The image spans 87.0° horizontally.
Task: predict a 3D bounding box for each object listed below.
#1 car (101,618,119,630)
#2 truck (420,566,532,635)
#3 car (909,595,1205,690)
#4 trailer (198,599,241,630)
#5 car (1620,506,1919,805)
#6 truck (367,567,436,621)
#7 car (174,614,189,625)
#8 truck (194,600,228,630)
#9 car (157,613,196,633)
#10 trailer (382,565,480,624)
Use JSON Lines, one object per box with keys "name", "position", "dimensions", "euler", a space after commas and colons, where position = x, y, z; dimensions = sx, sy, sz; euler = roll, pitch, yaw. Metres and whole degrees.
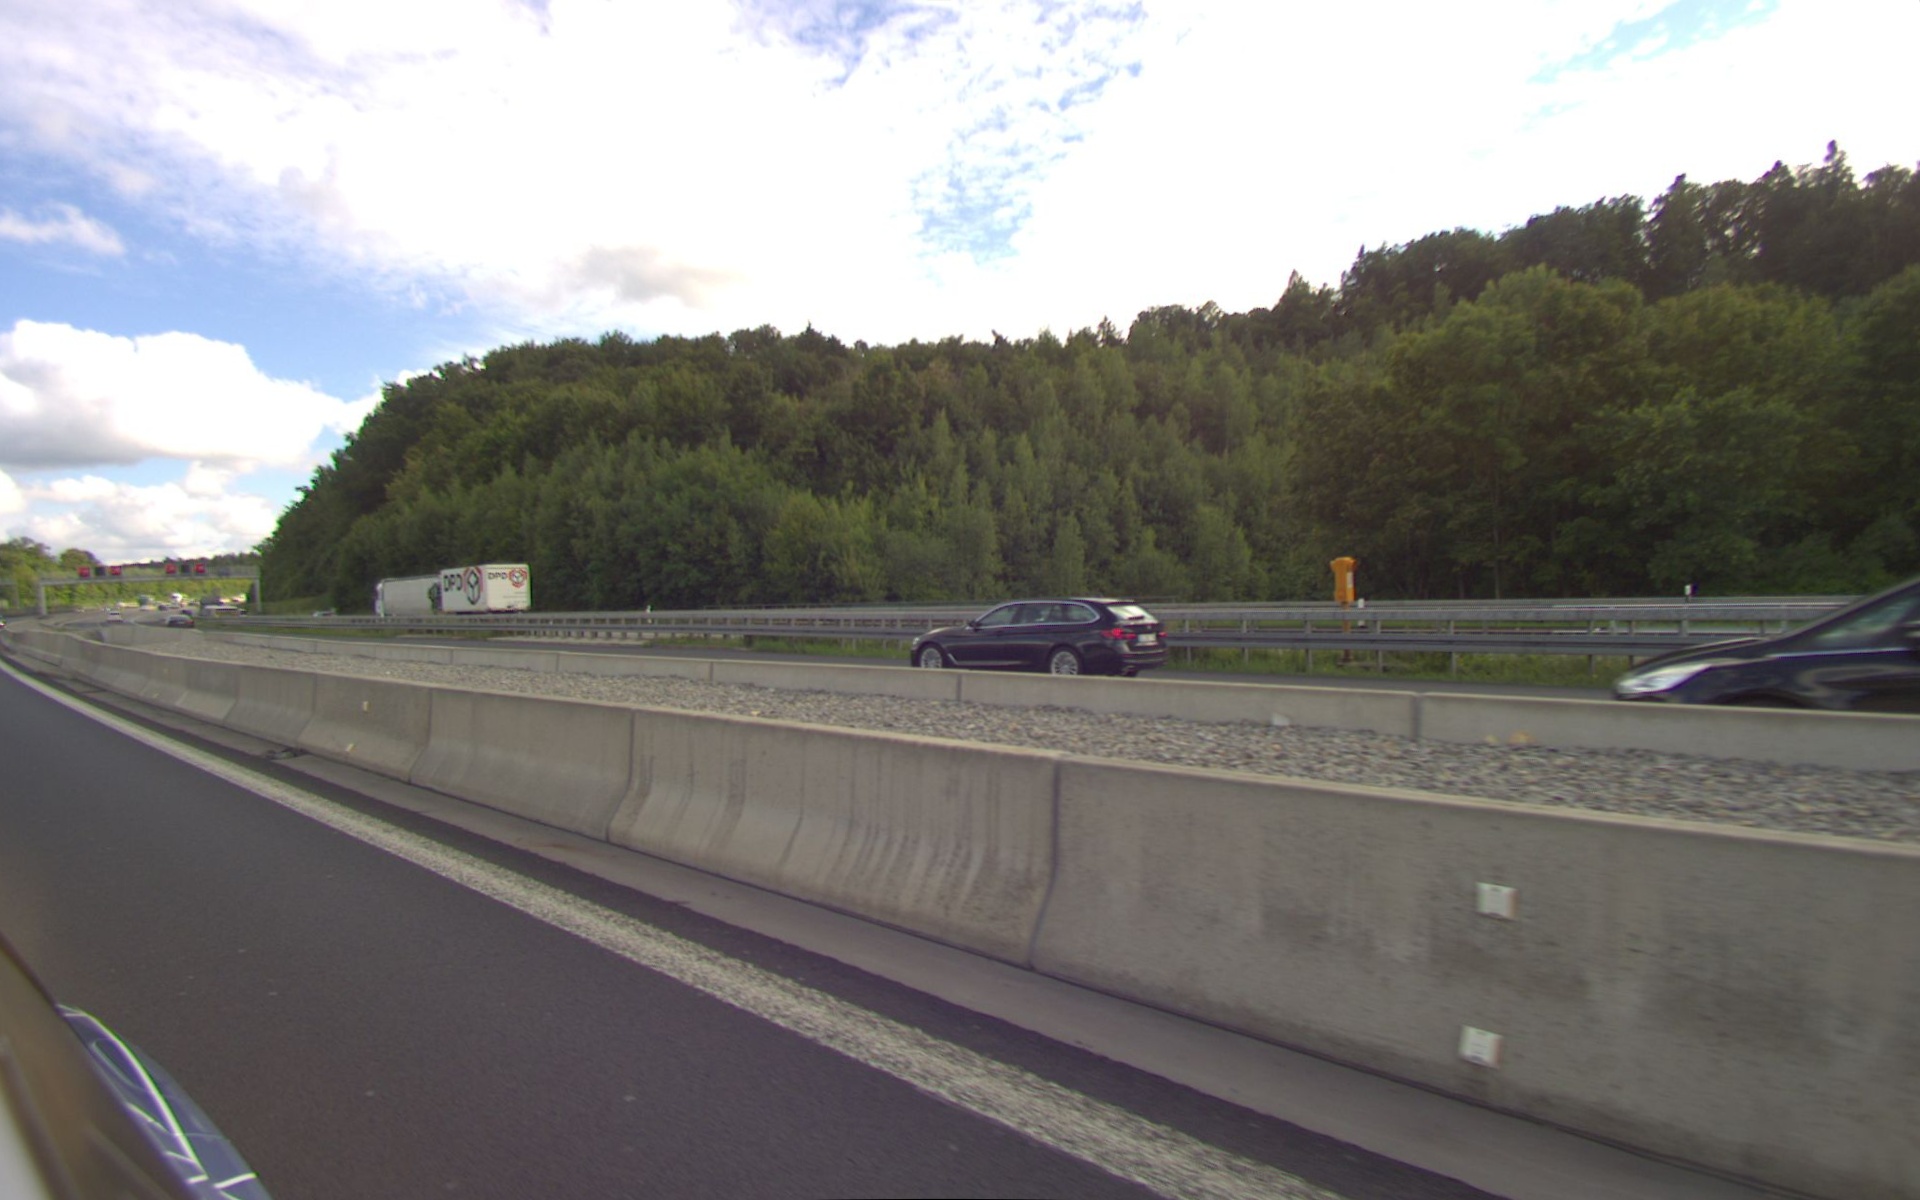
{"name": "car", "position": [-126.074, 3.538, 150.175], "dimensions": [1.693, 1.539, 4.770], "euler": [-1, 1, -44]}
{"name": "truck", "position": [-30.560, -0.020, 63.623], "dimensions": [10.467, 3.998, 2.869], "euler": [0, 1, 44]}
{"name": "car", "position": [1.534, 0.673, 17.332], "dimensions": [4.811, 1.413, 1.973], "euler": [-1, -1, 41]}
{"name": "trailer", "position": [-95.206, 1.880, 130.060], "dimensions": [2.780, 3.835, 12.197], "euler": [-1, 0, -44]}
{"name": "car", "position": [6.902, 0.293, 5.803], "dimensions": [4.966, 1.716, 1.865], "euler": [-2, -1, 43]}
{"name": "truck", "position": [-46.608, -0.510, 84.368], "dimensions": [6.752, 4.324, 3.283], "euler": [0, 1, 45]}
{"name": "car", "position": [-154.000, 3.900, 200.113], "dimensions": [1.970, 2.029, 4.005], "euler": [-1, 0, -42]}
{"name": "truck", "position": [-100.051, 1.994, 135.110], "dimensions": [2.776, 3.855, 7.136], "euler": [-1, 0, -43]}
{"name": "car", "position": [-62.809, 1.842, 81.101], "dimensions": [5.124, 1.458, 1.853], "euler": [0, 1, 45]}
{"name": "trailer", "position": [-41.640, -0.452, 79.365], "dimensions": [12.147, 4.324, 3.283], "euler": [0, 1, 45]}
